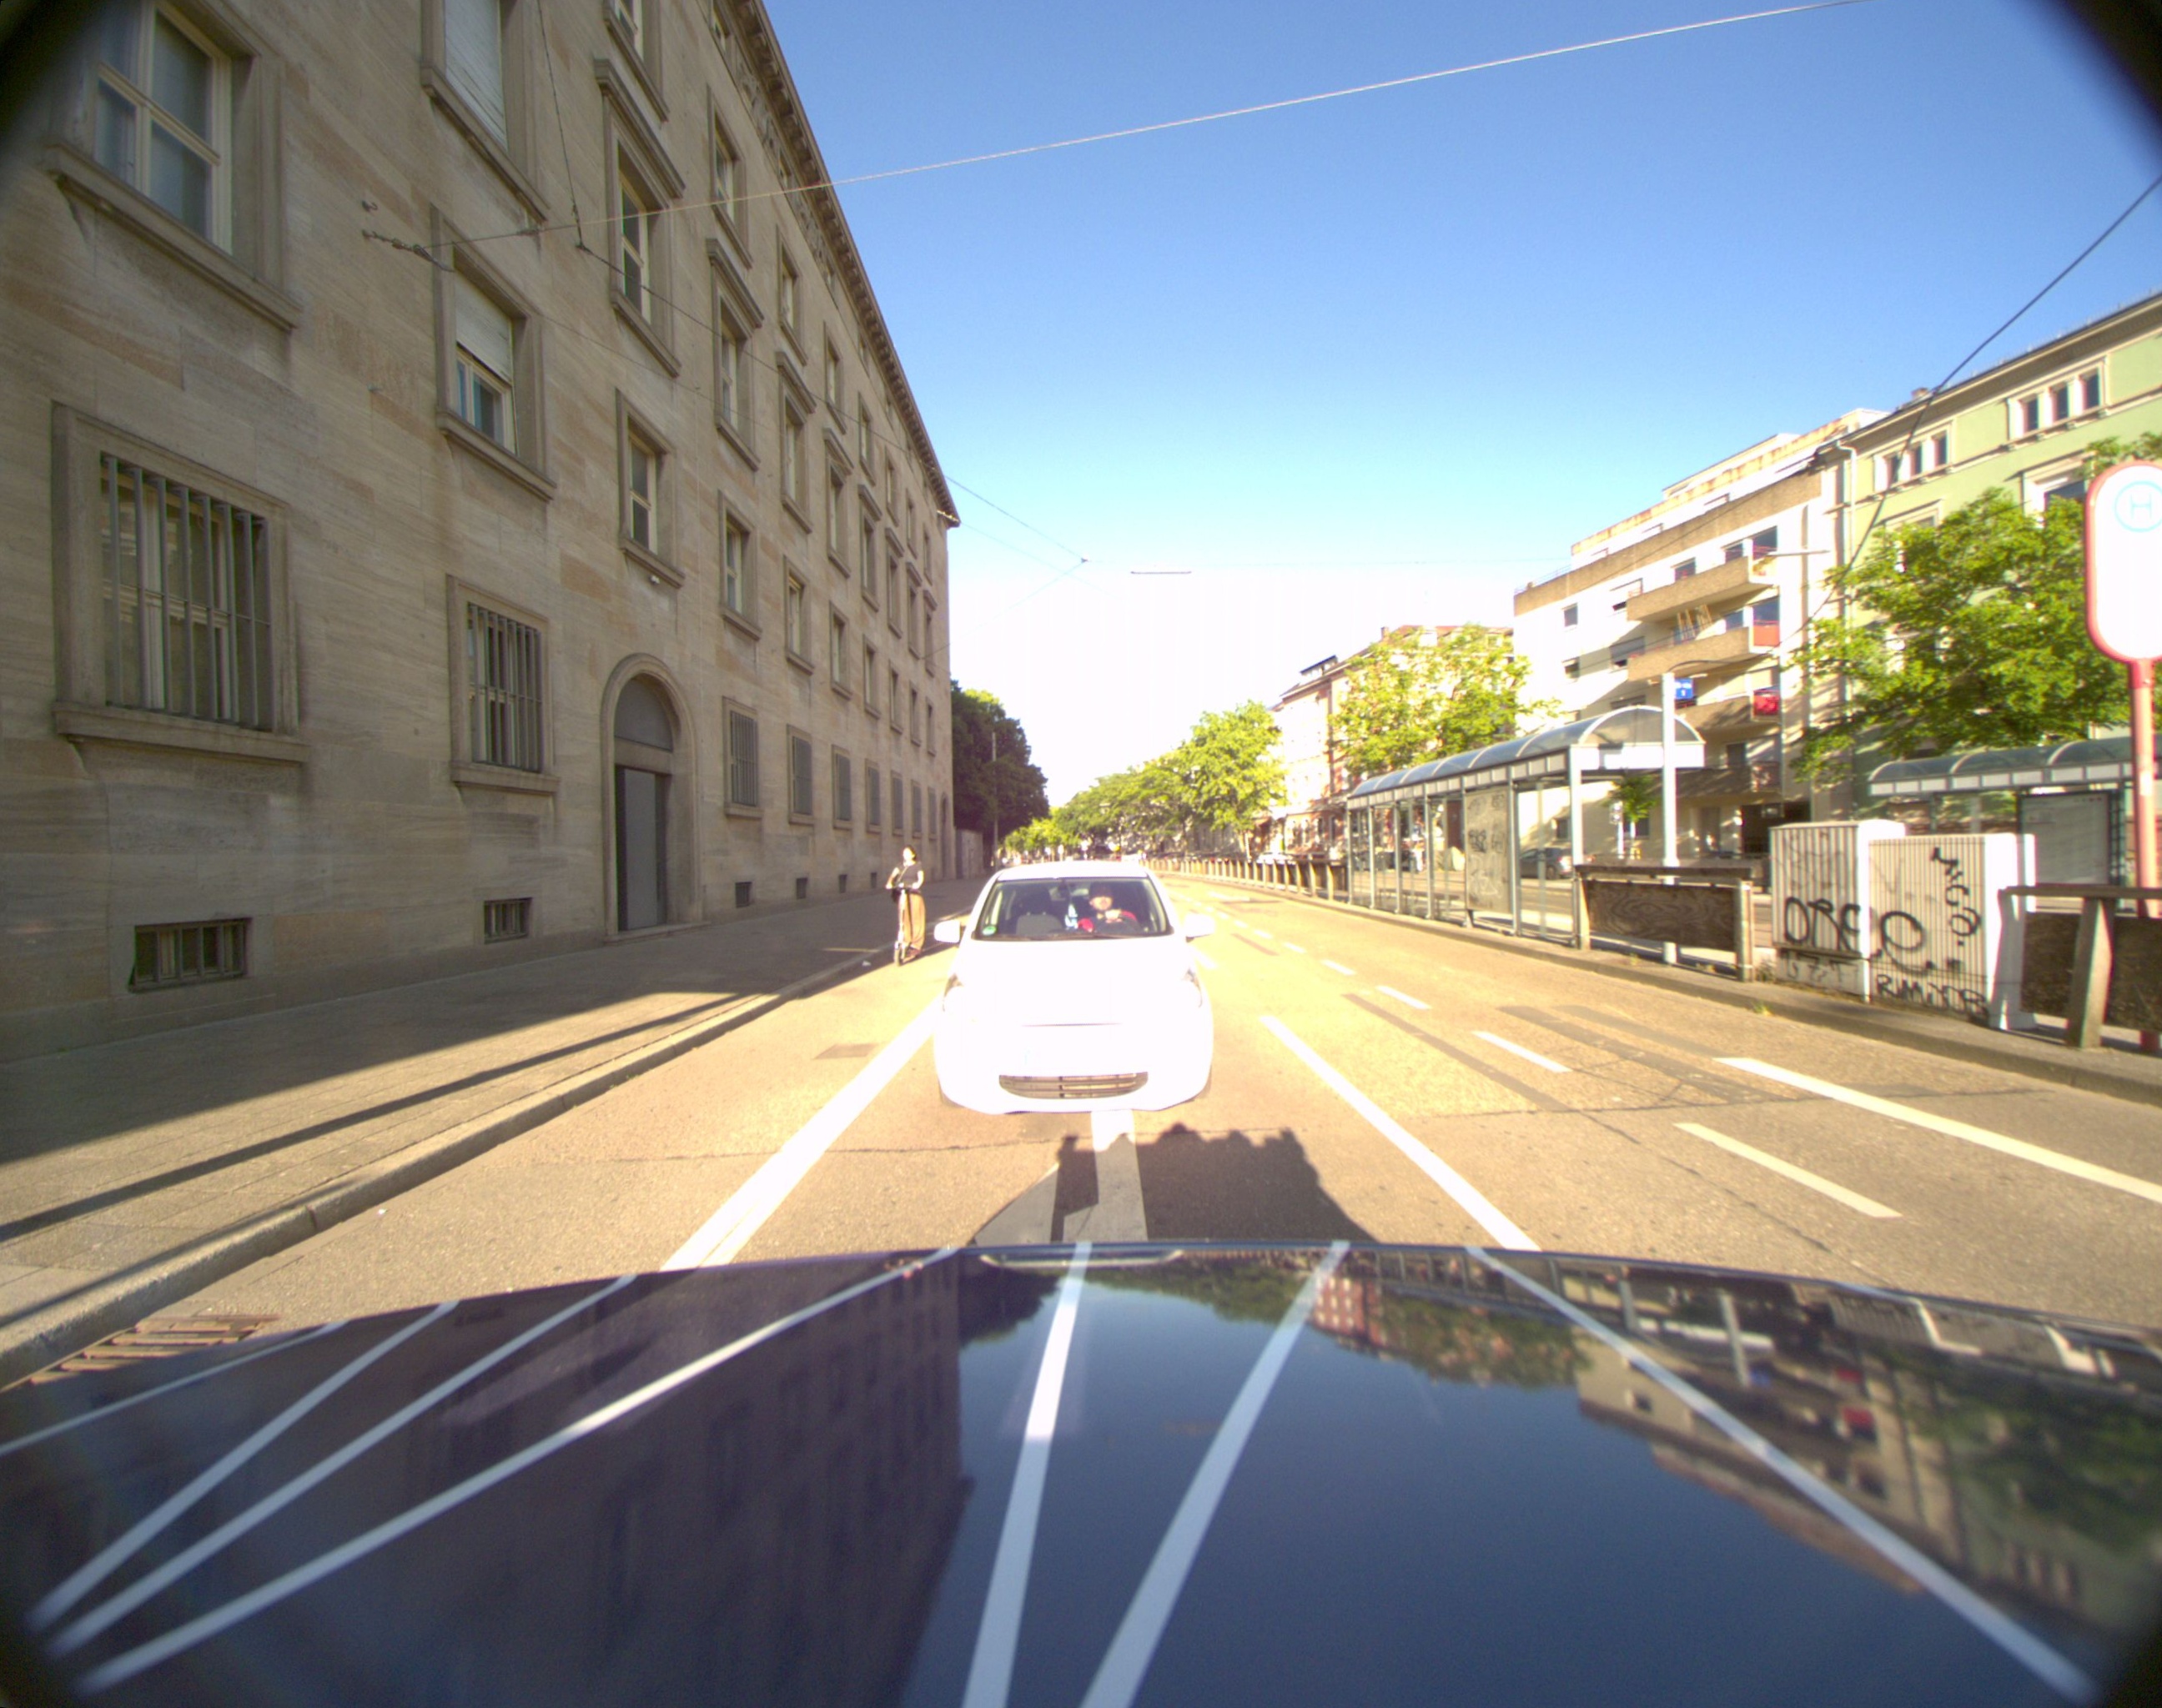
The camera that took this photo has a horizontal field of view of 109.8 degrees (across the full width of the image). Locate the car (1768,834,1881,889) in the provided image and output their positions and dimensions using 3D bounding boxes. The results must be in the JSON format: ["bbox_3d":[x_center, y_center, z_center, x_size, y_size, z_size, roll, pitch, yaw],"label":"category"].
[{"bbox_3d":[23.883,0.225,24.401,3.605,1.558,1.627,-3,1,-29],"label":"car"}]

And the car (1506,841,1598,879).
[{"bbox_3d":[20.914,0.231,33.931,1.631,1.558,3.598,-2,1,-5],"label":"car"}]

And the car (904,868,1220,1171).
[{"bbox_3d":[-0.075,0.910,5.808,1.612,1.462,3.631,-2,0,1],"label":"car"}]

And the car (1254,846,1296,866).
[{"bbox_3d":[16.258,0.154,63.475,3.607,1.558,1.627,-3,1,-42],"label":"car"}]

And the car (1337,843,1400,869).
[{"bbox_3d":[19.544,0.124,51.721,3.599,1.558,1.630,-2,1,-7],"label":"car"}]

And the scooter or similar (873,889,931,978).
[{"bbox_3d":[-2.642,1.150,11.325,0.536,1.178,1.328,-1,0,0],"label":"scooter or similar"}]

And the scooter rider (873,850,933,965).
[{"bbox_3d":[-2.655,0.780,11.356,0.731,1.661,0.556,-1,1,0],"label":"scooter rider"}]

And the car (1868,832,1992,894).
[{"bbox_3d":[24.462,0.231,21.889,3.605,1.558,1.627,-3,1,-29],"label":"car"}]
